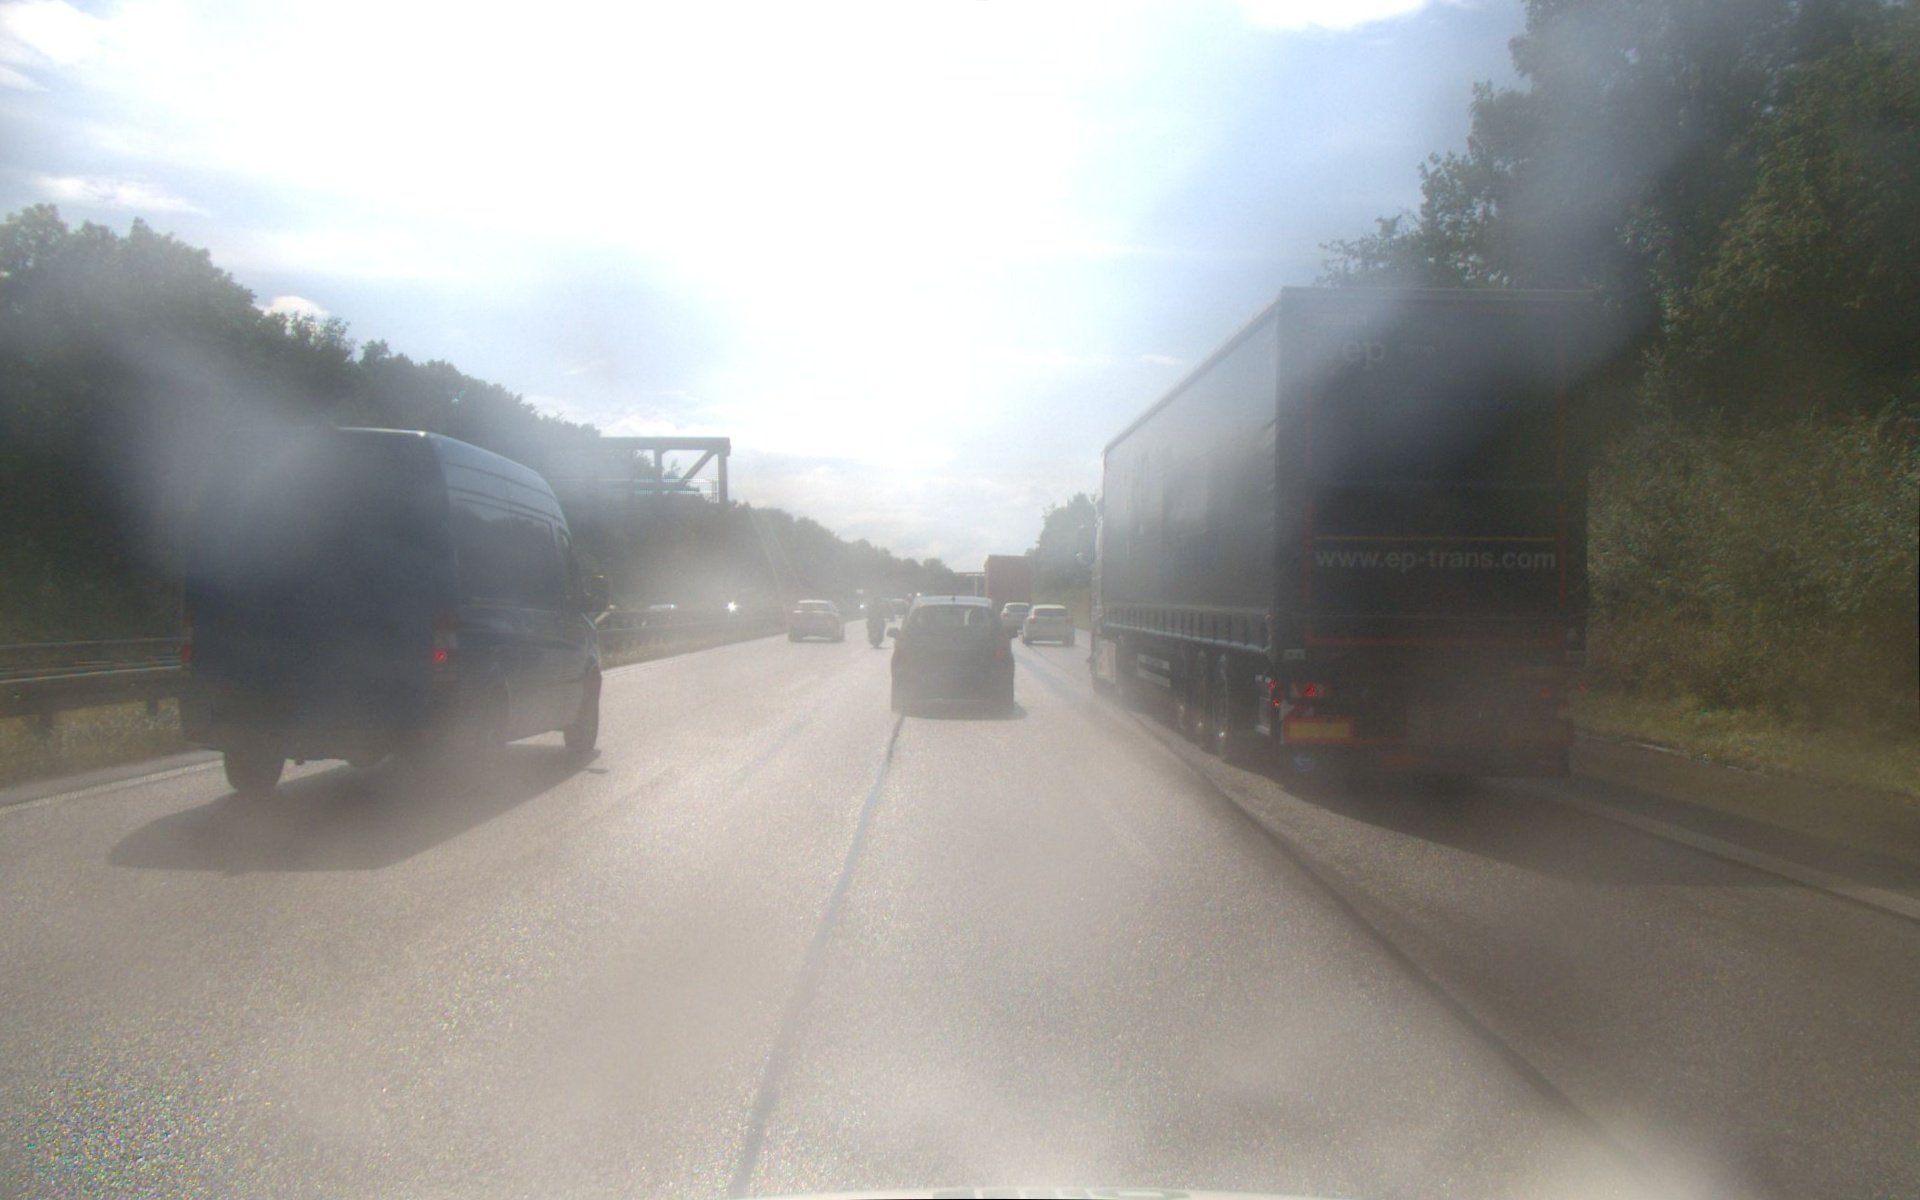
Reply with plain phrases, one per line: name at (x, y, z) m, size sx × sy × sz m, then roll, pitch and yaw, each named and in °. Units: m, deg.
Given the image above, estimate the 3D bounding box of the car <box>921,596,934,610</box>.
car at (-4.697, 0.465, 239.139) m, size 1.953 × 2.049 × 3.999 m, roll 1°, pitch 0°, yaw -1°

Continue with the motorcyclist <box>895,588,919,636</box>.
motorcyclist at (-2.001, 0.445, 62.150) m, size 0.805 × 1.791 × 1.389 m, roll 1°, pitch -1°, yaw -5°

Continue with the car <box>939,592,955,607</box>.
car at (-1.353, -0.092, 172.954) m, size 1.599 × 1.516 × 3.435 m, roll 1°, pitch 0°, yaw -1°

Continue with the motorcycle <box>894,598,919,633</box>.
motorcycle at (-2.008, 0.584, 62.230) m, size 0.803 × 1.285 × 2.115 m, roll 1°, pitch 0°, yaw -5°

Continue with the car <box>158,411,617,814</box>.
car at (-4.449, 0.090, 14.035) m, size 1.975 × 2.695 × 5.775 m, roll 1°, pitch 0°, yaw -1°

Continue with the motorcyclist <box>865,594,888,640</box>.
motorcyclist at (-2.702, 0.535, 53.377) m, size 0.657 × 1.467 × 1.019 m, roll 1°, pitch -1°, yaw -5°

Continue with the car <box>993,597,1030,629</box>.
car at (2.502, 0.635, 80.855) m, size 1.641 × 1.516 × 3.435 m, roll 1°, pitch 0°, yaw -1°

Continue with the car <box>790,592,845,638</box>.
car at (-5.208, 0.542, 60.759) m, size 1.723 × 1.622 × 4.329 m, roll 1°, pitch 0°, yaw -1°

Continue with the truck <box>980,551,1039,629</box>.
truck at (2.938, -0.578, 100.426) m, size 3.137 × 4.481 × 9.430 m, roll 1°, pitch 0°, yaw -1°

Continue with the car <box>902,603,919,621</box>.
car at (-5.921, 1.415, 196.707) m, size 1.953 × 2.049 × 3.999 m, roll 1°, pitch 0°, yaw -1°

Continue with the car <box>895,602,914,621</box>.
car at (-5.039, 1.034, 150.486) m, size 1.641 × 1.625 × 3.435 m, roll 1°, pitch 0°, yaw -1°

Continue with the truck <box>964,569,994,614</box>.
truck at (2.067, -0.857, 180.502) m, size 2.823 × 4.769 × 12.655 m, roll 1°, pitch 0°, yaw -1°

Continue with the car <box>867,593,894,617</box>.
car at (-5.823, 0.357, 120.883) m, size 1.854 × 1.656 × 4.193 m, roll 1°, pitch 0°, yaw -1°

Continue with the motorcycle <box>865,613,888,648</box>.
motorcycle at (-2.708, 0.974, 53.421) m, size 0.662 × 1.106 × 1.980 m, roll 1°, pitch 0°, yaw -4°

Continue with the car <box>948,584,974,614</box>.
car at (0.080, -0.068, 111.409) m, size 1.641 × 1.970 × 3.772 m, roll 1°, pitch 0°, yaw -1°

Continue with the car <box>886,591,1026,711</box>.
car at (-0.105, 0.692, 24.457) m, size 1.876 × 1.592 × 4.312 m, roll 1°, pitch 0°, yaw -1°

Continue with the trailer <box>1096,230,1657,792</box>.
trailer at (3.876, -0.686, 20.095) m, size 3.025 × 4.388 × 14.102 m, roll 1°, pitch 0°, yaw -1°

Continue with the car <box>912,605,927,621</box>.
car at (-5.271, 1.721, 214.124) m, size 1.953 × 2.049 × 3.999 m, roll 1°, pitch 0°, yaw -1°

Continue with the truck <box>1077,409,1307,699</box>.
truck at (3.769, -0.679, 28.305) m, size 2.990 × 4.401 × 5.885 m, roll 1°, pitch -1°, yaw -1°

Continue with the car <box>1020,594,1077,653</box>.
car at (3.200, 0.839, 60.423) m, size 1.811 × 2.049 × 4.086 m, roll 1°, pitch 0°, yaw -1°
